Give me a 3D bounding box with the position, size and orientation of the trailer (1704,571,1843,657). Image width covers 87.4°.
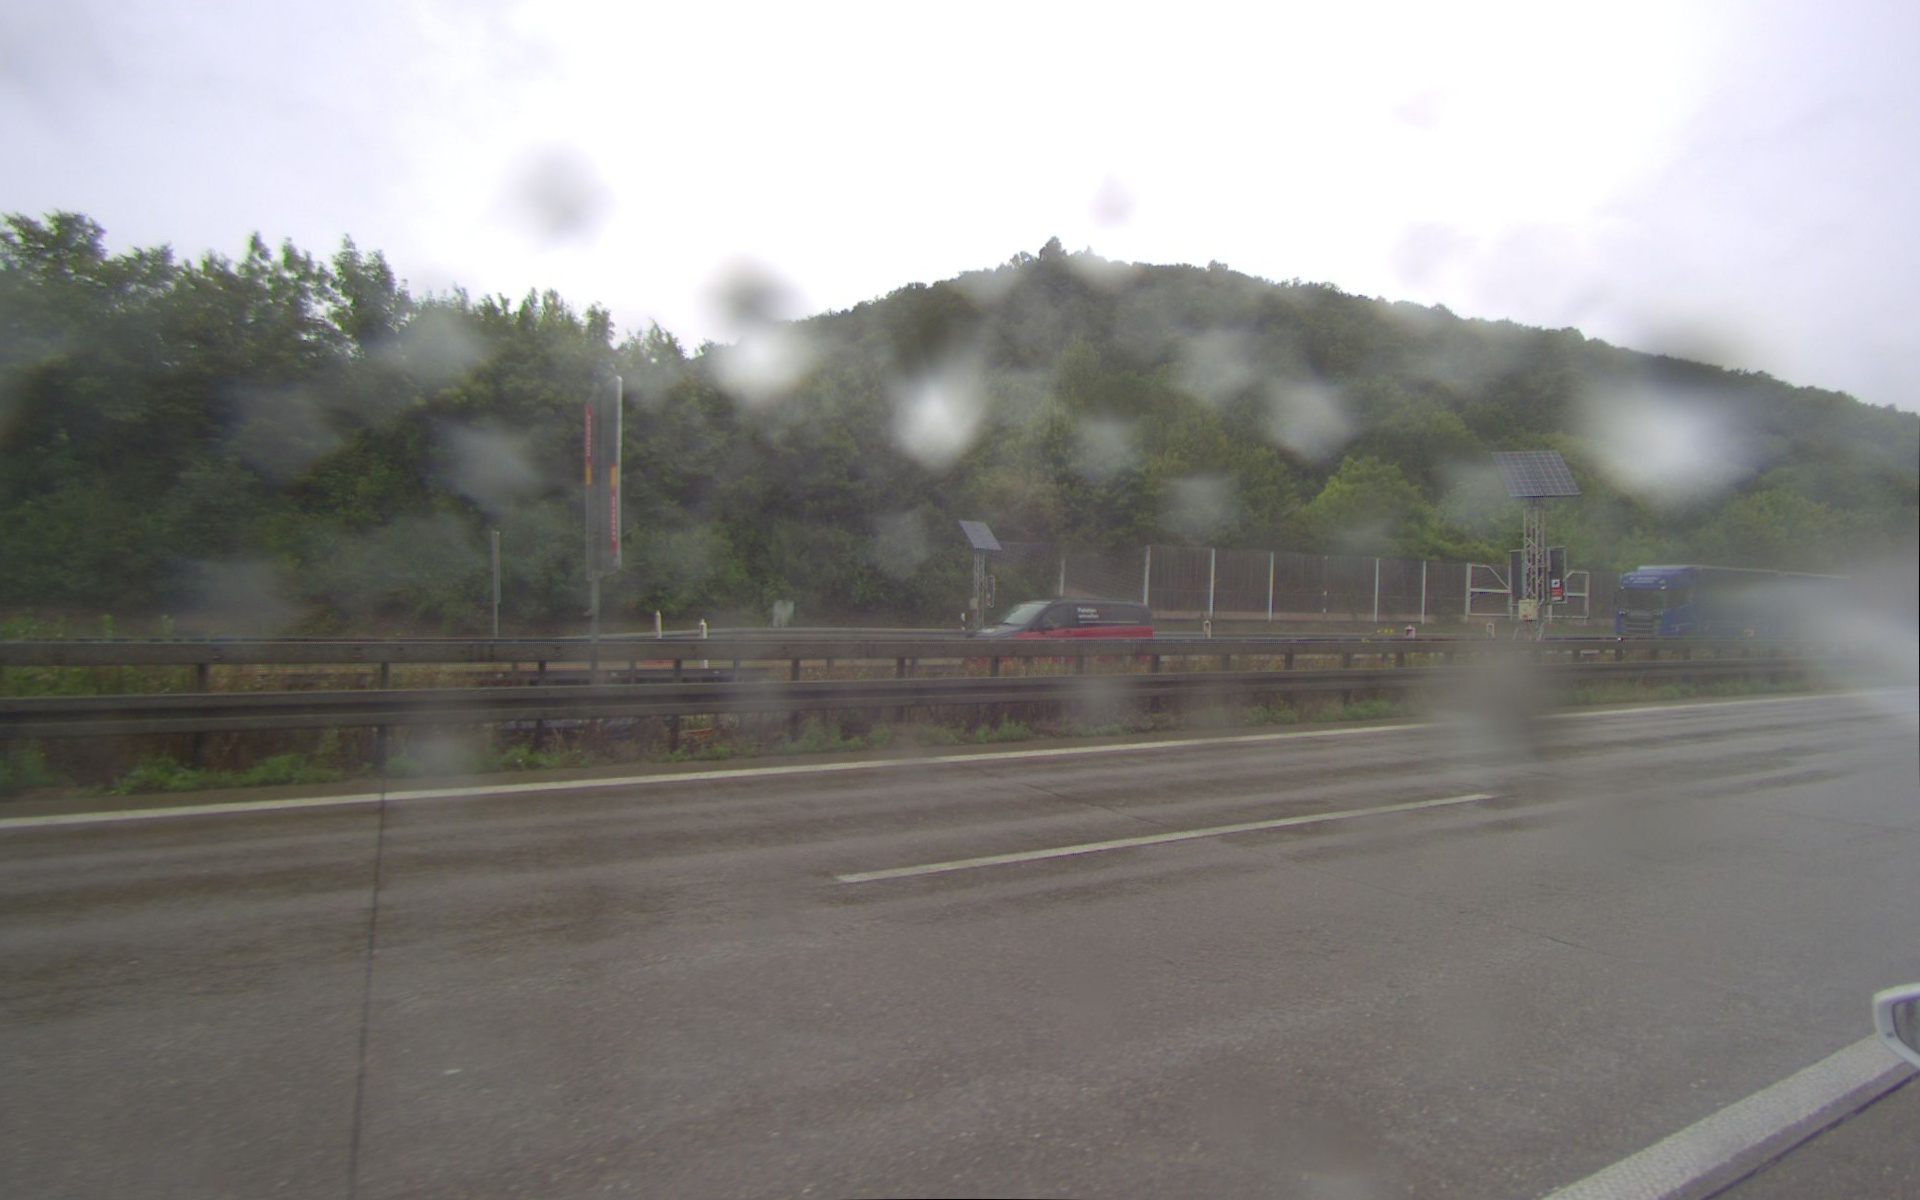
[{"bbox_3d":[42.713,0.742,52.676,8.424,4.210,2.834,1,0,-30],"label":"trailer"}]

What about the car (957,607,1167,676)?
[{"bbox_3d":[2.599,1.003,25.089,5.209,1.552,1.744,1,0,-30],"label":"car"}]

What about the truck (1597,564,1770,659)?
[{"bbox_3d":[34.707,0.569,48.021,10.058,4.210,2.834,1,0,-30],"label":"truck"}]
